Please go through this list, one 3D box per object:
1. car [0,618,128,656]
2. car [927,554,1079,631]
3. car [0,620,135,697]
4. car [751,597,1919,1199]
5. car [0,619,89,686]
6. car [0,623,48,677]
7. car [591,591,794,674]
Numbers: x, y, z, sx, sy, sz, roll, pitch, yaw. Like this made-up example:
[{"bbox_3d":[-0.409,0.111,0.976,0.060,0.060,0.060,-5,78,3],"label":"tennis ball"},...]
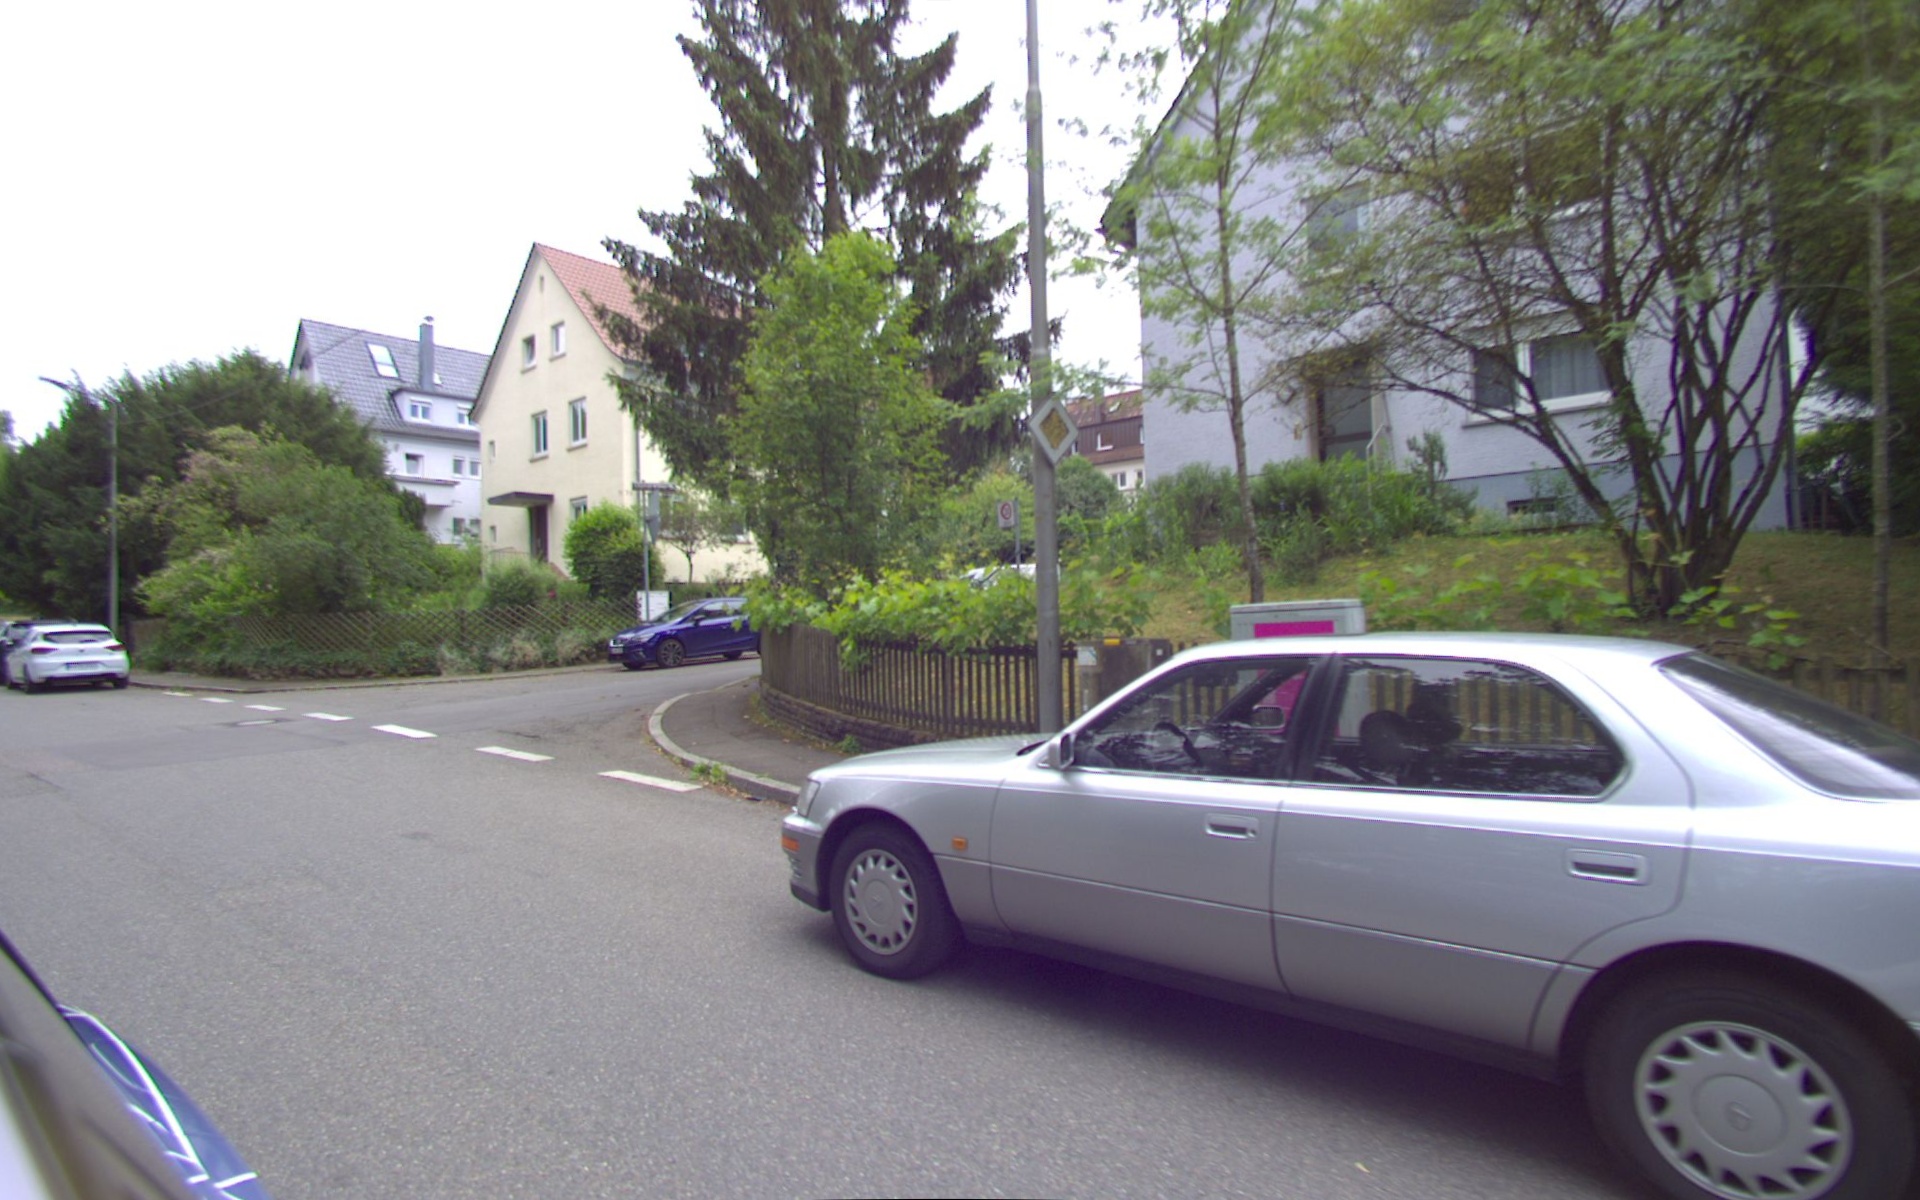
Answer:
[{"bbox_3d":[-41.092,1.681,46.130,1.888,1.397,4.561,-3,1,39],"label":"car"},{"bbox_3d":[1.417,-0.274,31.055,1.928,2.013,4.868,-7,-2,40],"label":"car"},{"bbox_3d":[-19.869,1.234,22.389,4.011,1.511,1.766,-2,-1,40],"label":"car"},{"bbox_3d":[1.543,0.766,3.623,4.905,1.450,1.830,-1,-2,39],"label":"car"},{"bbox_3d":[-23.379,1.282,25.323,4.011,1.511,1.766,-2,-1,40],"label":"car"},{"bbox_3d":[-27.792,1.433,28.992,4.318,1.450,1.766,-2,-1,38],"label":"car"},{"bbox_3d":[-5.829,0.667,22.365,1.723,1.494,3.942,-3,1,45],"label":"car"}]
